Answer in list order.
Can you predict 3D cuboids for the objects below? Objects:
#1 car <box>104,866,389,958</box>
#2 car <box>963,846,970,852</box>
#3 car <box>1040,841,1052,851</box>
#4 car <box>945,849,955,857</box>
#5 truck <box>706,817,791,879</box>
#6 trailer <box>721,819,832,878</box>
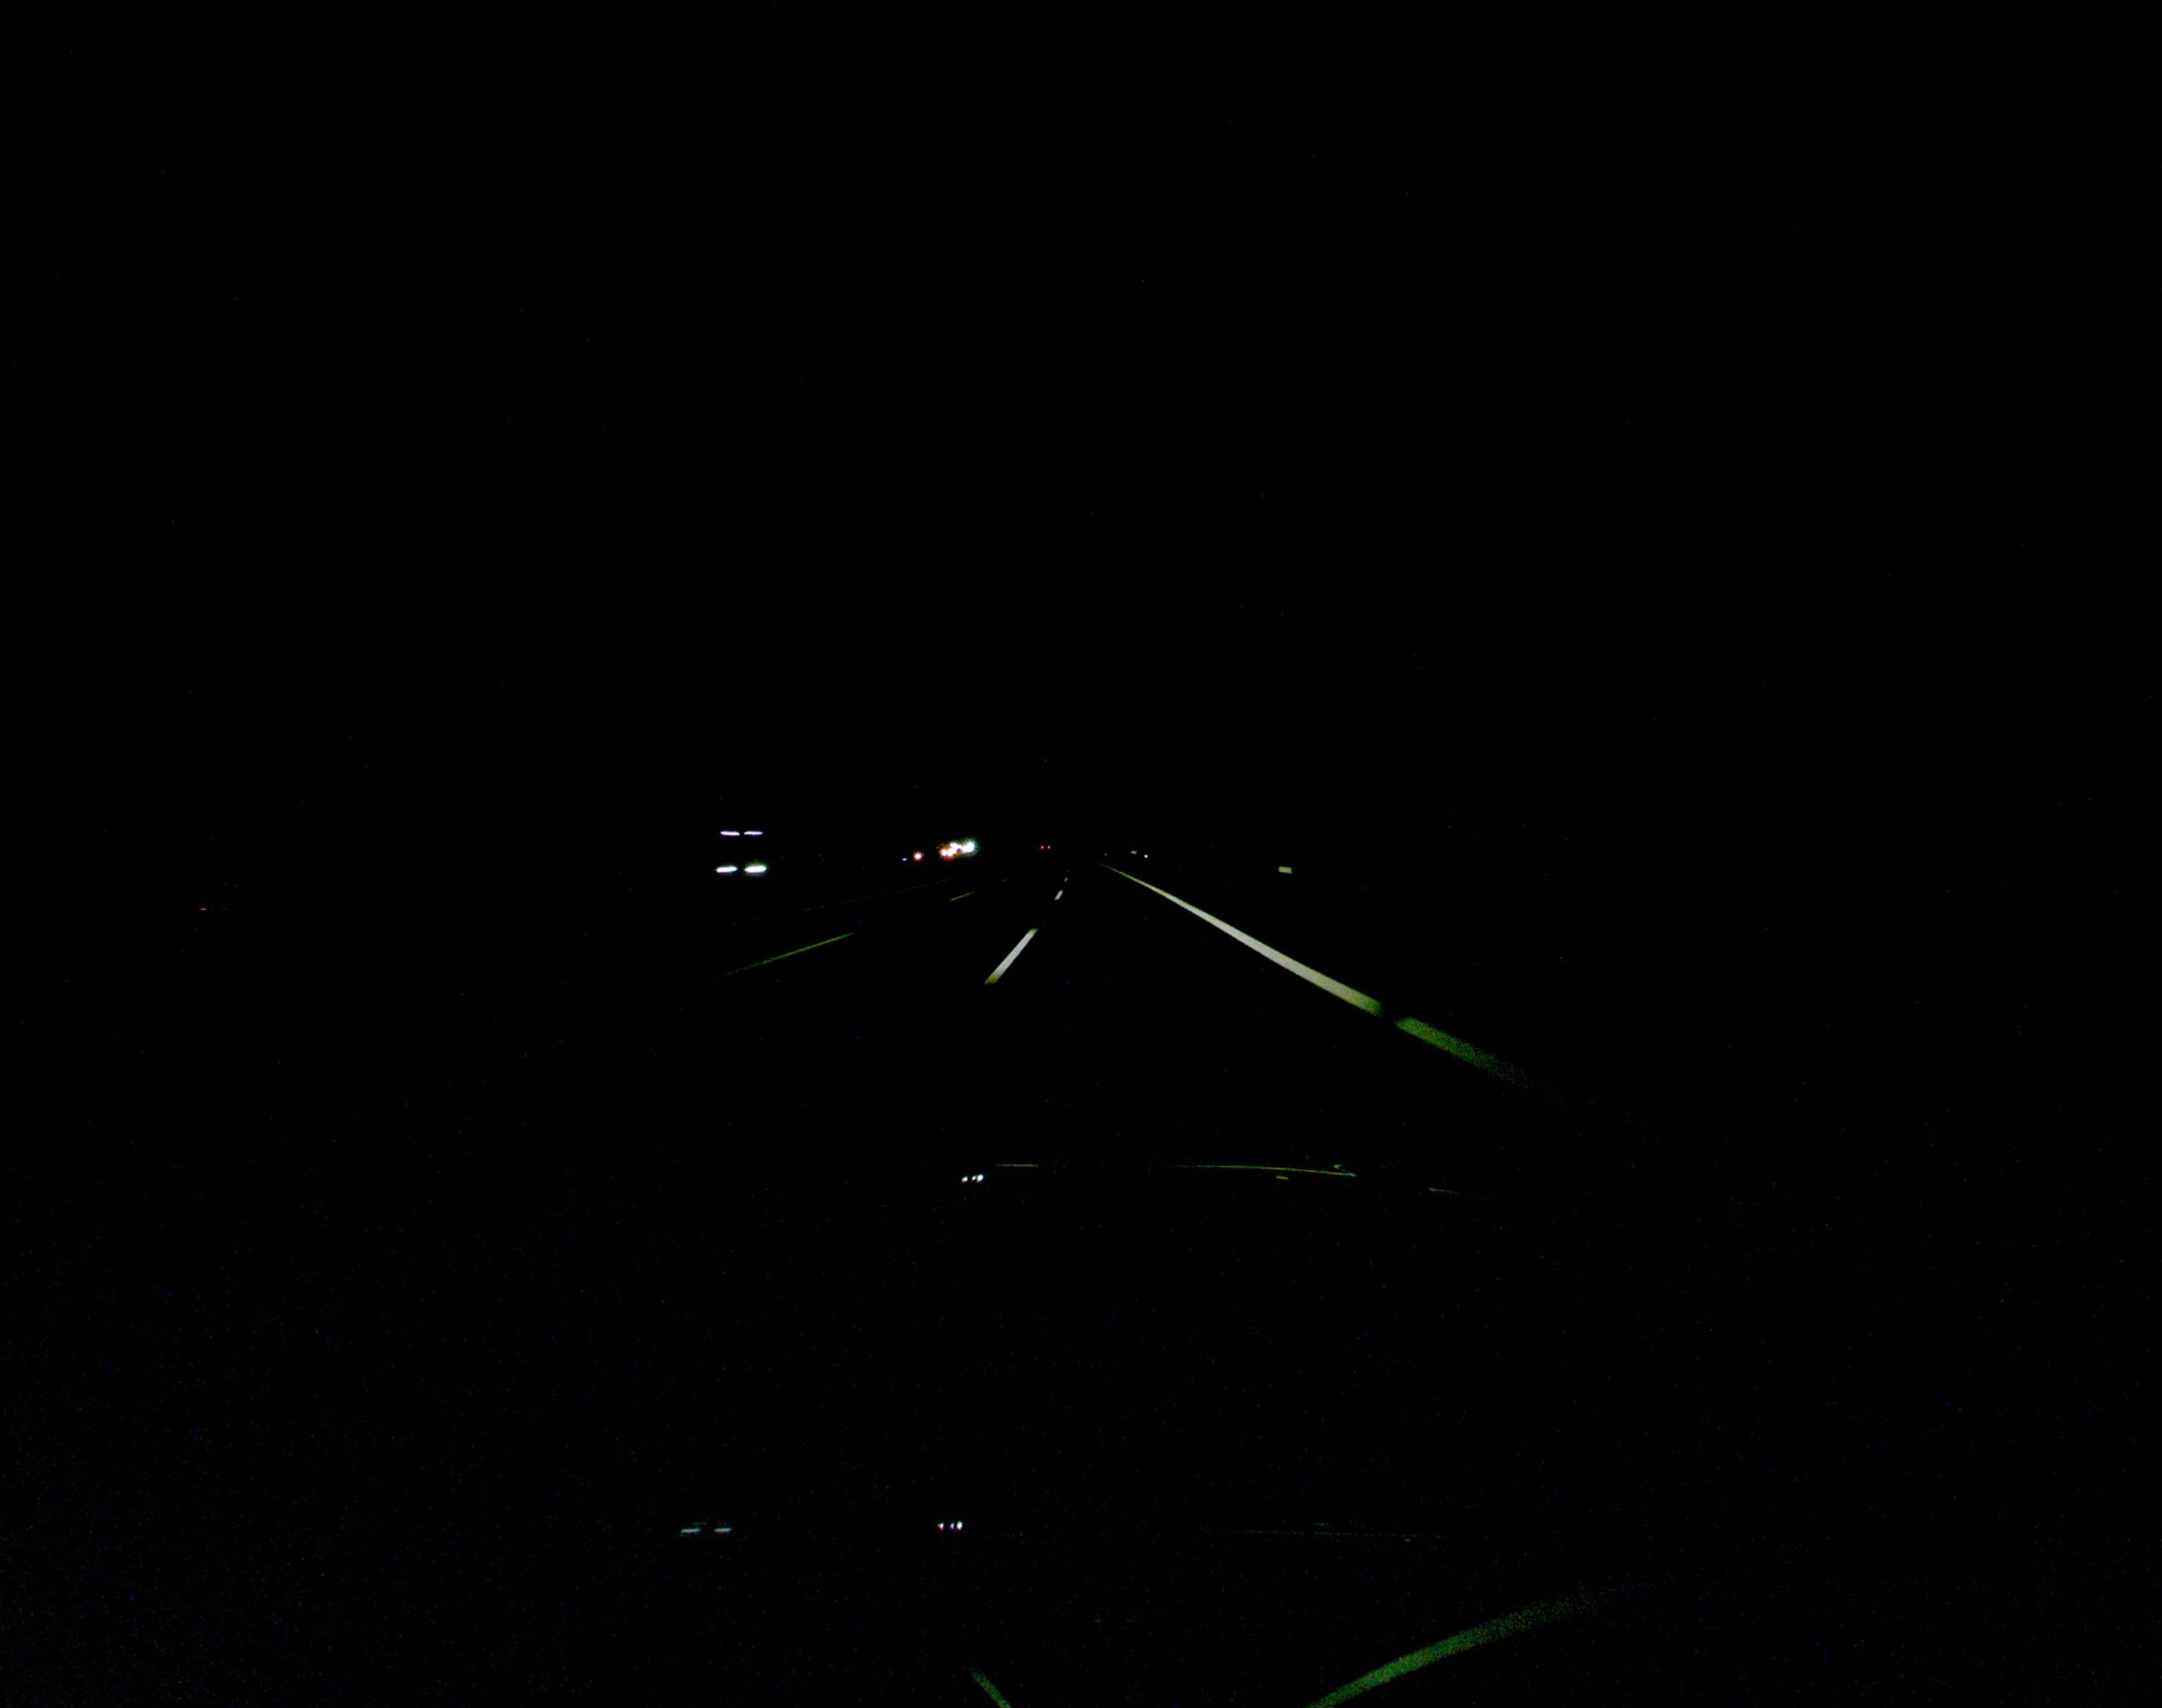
[{"bbox_3d":[-16.479,1.064,16.417,1.530,1.598,4.000,1,-1,1],"label":"car"},{"bbox_3d":[-34.067,-1.527,242.541,1.990,1.854,4.070,-1,1,-5],"label":"car"},{"bbox_3d":[-9.001,-2.142,209.545,2.526,2.553,6.035,1,0,-7],"label":"car"},{"bbox_3d":[-29.933,-0.290,186.130,1.990,1.726,4.070,-1,1,-5],"label":"car"},{"bbox_3d":[-23.525,-0.422,58.036,3.579,4.099,5.992,-1,0,-1],"label":"truck"},{"bbox_3d":[-23.634,-0.423,64.510,3.588,4.090,14.118,-1,0,-1],"label":"trailer"}]
